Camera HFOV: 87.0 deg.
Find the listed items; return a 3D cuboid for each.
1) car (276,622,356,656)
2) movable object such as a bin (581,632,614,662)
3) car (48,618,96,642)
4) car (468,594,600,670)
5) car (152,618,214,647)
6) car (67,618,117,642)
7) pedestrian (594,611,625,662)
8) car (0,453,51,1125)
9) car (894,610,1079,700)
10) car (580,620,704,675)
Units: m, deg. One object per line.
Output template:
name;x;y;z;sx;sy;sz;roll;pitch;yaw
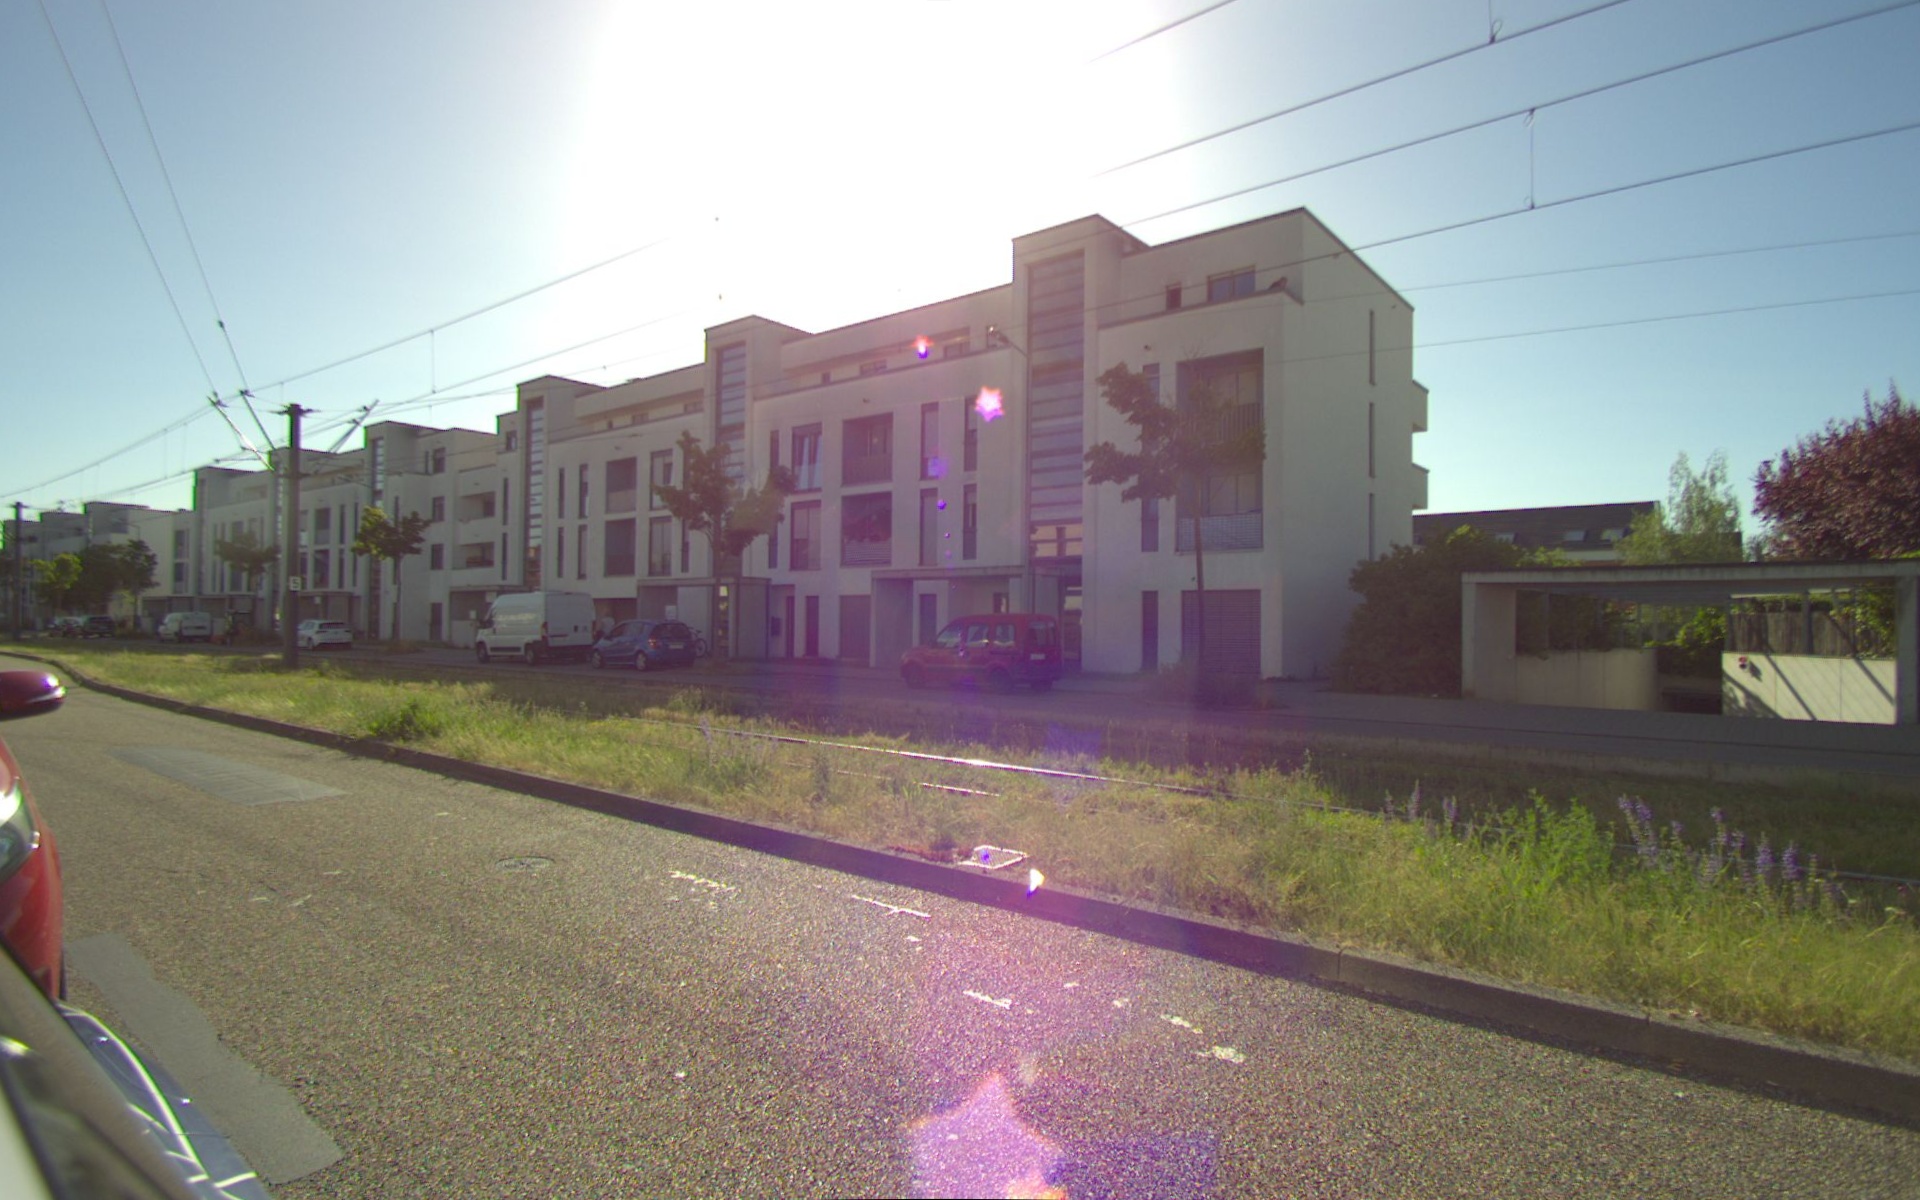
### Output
car;-31.134;1.833;48.900;4.277;1.517;1.900;-1;0;37
movable object such as a bin;-13.491;1.723;37.626;1.083;1.062;0.719;-1;0;42
car;-67.520;2.247;76.930;4.277;1.693;1.900;-1;0;37
car;-15.193;1.070;35.945;5.193;2.491;2.197;-1;0;40
car;-47.354;1.954;61.625;4.277;1.693;1.900;-1;0;37
car;-62.975;2.157;73.405;4.277;1.693;1.900;-1;0;37
pedestrian;-12.829;1.330;37.007;0.785;1.836;0.766;-1;0;41
car;-4.900;0.553;3.681;4.505;1.868;1.850;-1;0;41
car;0.540;1.165;23.020;3.895;1.842;1.972;-1;0;43
car;-9.998;1.444;31.741;3.833;1.556;1.973;-1;0;40
